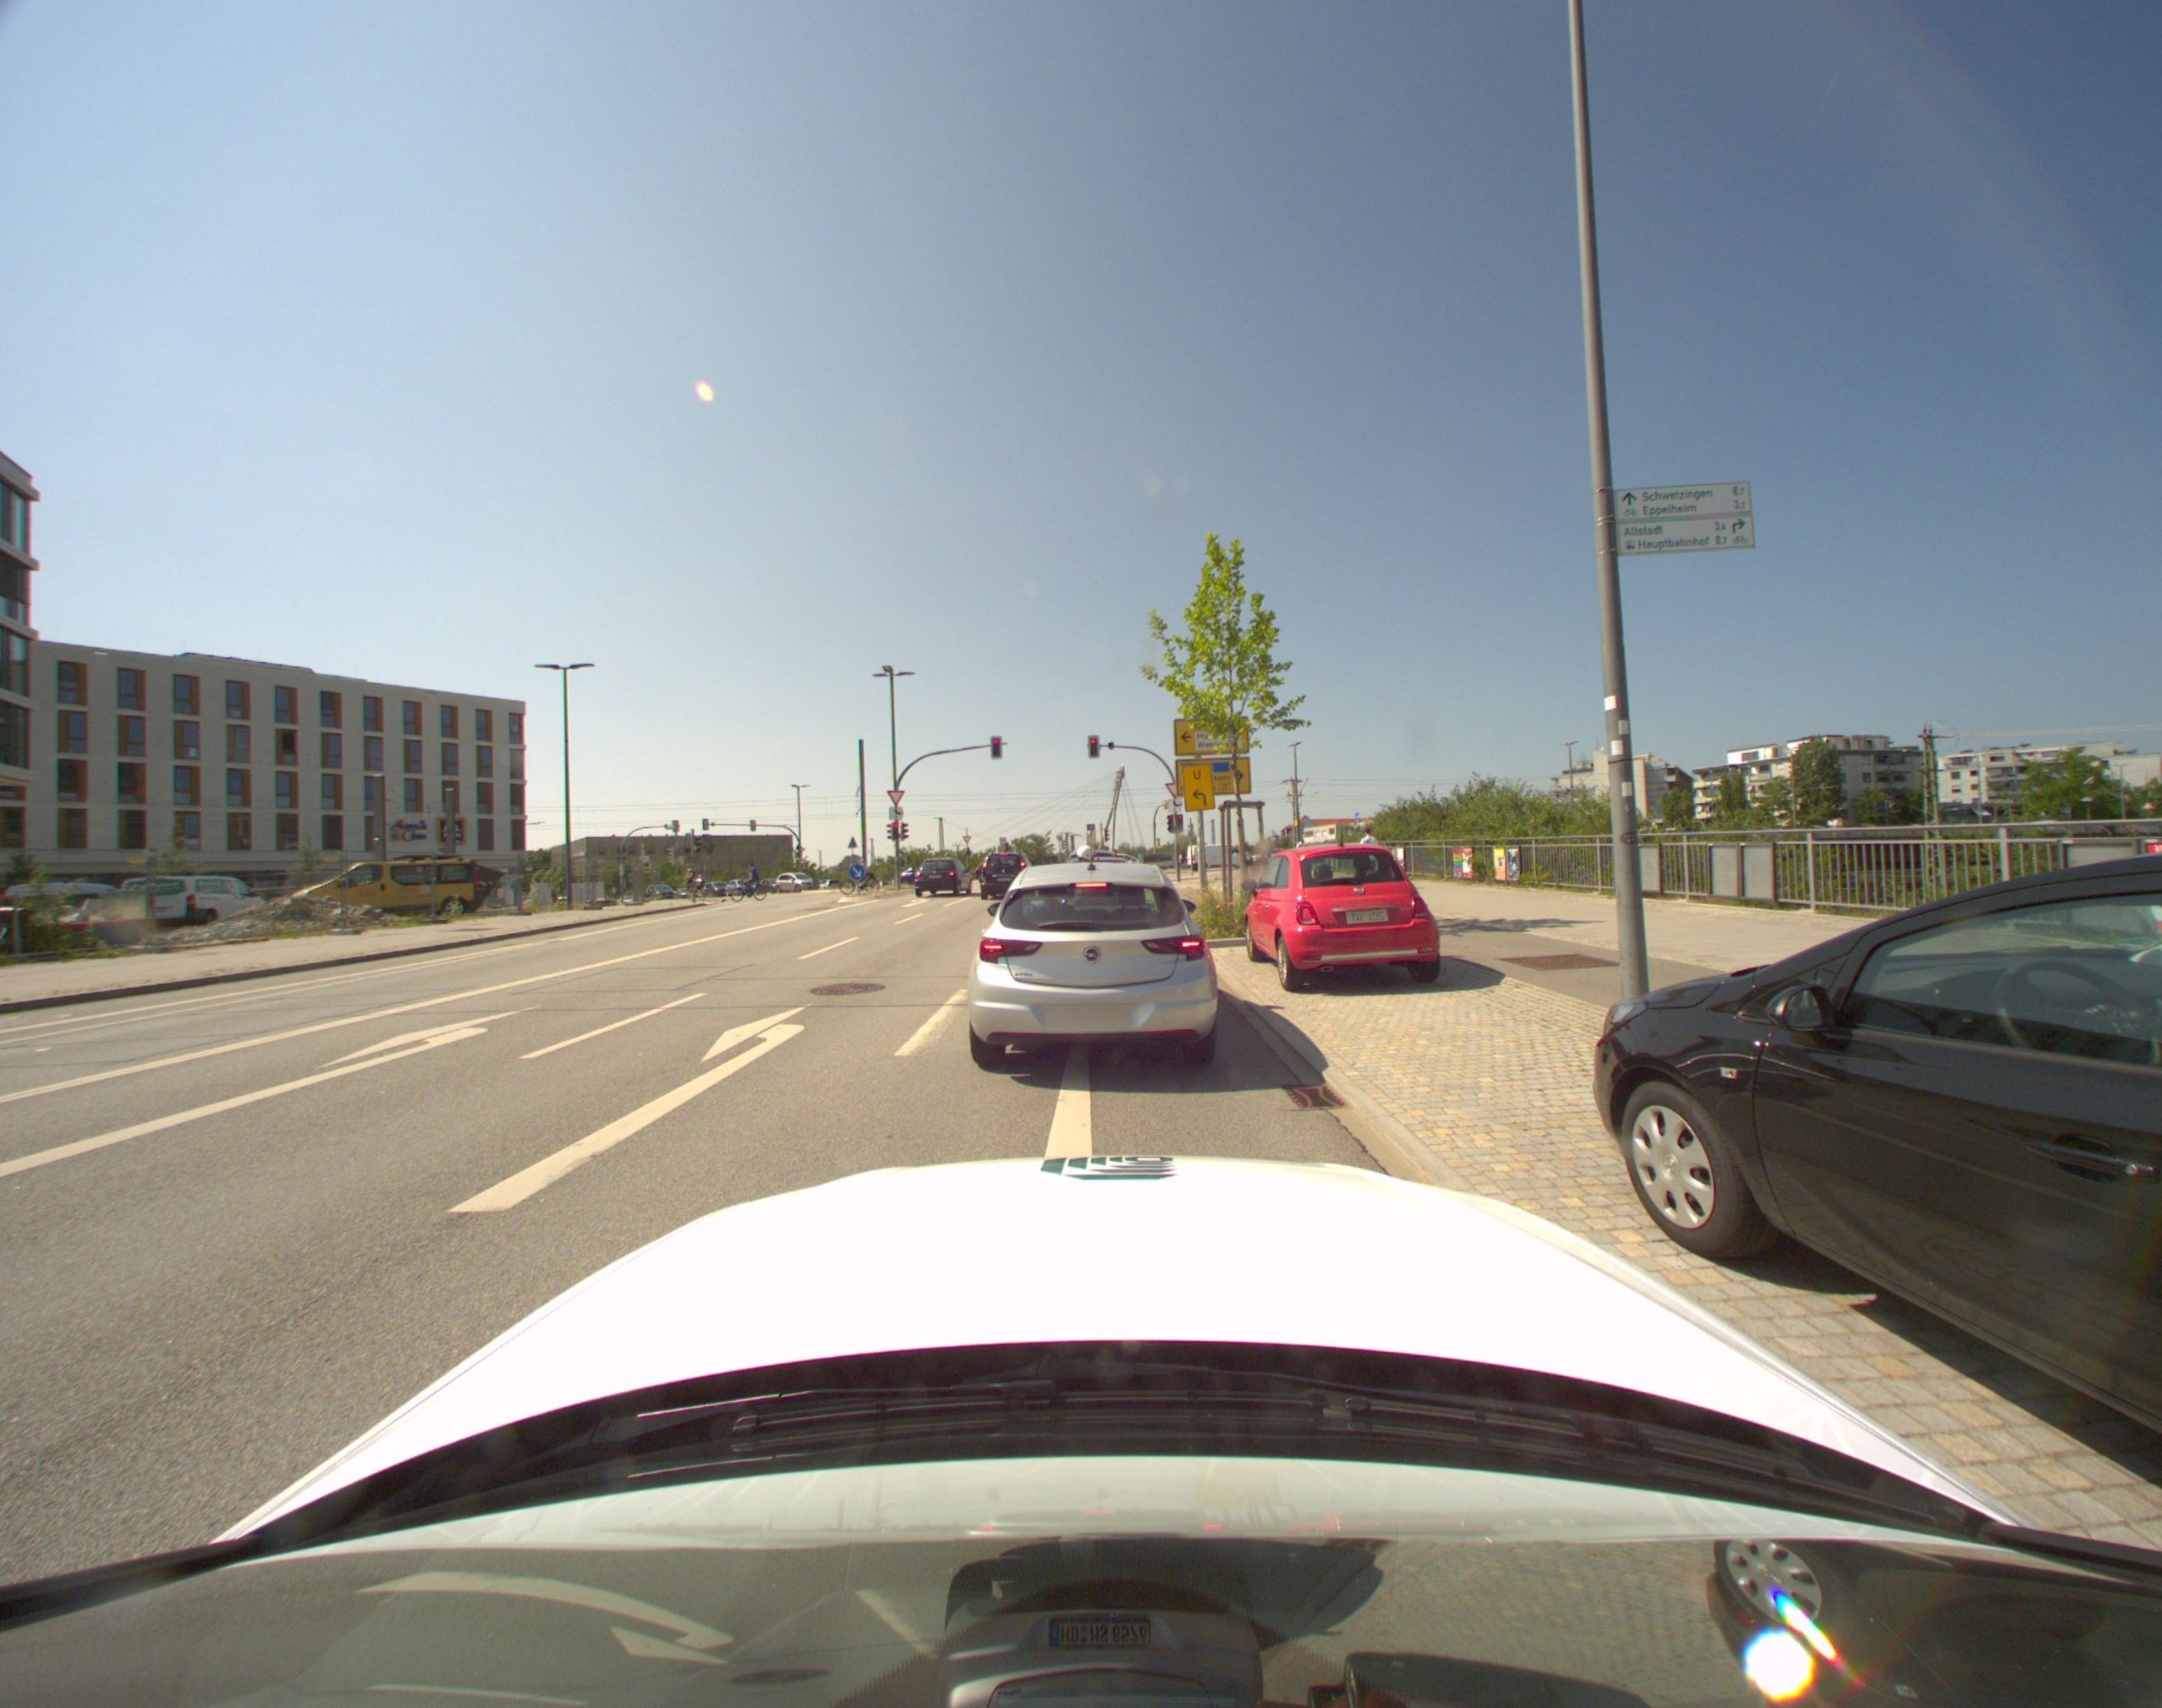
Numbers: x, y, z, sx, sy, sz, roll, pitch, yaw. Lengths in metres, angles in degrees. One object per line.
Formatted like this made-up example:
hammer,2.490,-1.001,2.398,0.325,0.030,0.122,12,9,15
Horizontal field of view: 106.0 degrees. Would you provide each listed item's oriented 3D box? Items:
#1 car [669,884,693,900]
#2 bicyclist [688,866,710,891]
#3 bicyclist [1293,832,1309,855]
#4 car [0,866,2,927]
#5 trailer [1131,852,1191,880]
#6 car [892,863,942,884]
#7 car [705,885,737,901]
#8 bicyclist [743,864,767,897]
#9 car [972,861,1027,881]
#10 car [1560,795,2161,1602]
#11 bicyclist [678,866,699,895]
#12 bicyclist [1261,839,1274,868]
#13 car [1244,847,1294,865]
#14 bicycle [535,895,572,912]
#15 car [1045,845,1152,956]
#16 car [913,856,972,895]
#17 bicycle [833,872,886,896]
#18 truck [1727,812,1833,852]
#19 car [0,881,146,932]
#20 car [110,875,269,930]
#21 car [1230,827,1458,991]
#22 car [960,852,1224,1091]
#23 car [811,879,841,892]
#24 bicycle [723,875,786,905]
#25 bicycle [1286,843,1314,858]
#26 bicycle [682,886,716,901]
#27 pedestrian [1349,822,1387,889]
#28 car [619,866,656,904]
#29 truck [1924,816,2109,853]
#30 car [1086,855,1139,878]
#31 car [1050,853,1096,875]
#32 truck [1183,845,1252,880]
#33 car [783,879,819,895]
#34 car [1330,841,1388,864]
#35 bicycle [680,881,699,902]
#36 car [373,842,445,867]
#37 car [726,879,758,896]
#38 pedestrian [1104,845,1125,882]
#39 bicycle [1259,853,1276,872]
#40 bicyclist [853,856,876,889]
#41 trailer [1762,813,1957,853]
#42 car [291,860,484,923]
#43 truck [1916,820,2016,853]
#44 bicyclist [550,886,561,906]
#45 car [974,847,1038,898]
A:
car,-46.584,4.373,94.849,1.725,1.741,4.165,1,-1,-36
bicyclist,-18.846,1.208,40.157,0.650,1.175,0.735,-2,-2,35
bicyclist,15.687,-0.752,58.073,0.772,1.610,0.944,0,-1,-13
car,-36.245,1.395,24.980,2.220,2.056,4.133,0,-1,-28
trailer,5.852,0.863,59.858,3.987,2.014,1.993,0,-1,-10
car,-13.162,1.544,65.285,3.485,1.641,1.805,0,-1,10
car,-37.882,4.076,85.676,2.010,1.455,4.433,1,-1,-40
bicyclist,-15.408,1.247,38.482,0.821,1.560,0.862,0,-1,-4
car,-6.011,1.257,60.107,3.755,1.390,1.669,0,-1,7
car,2.859,0.638,1.715,1.576,1.555,3.548,-4,0,1
bicyclist,-20.490,1.363,42.543,0.842,1.502,0.656,0,-1,-14
bicyclist,12.217,-0.031,53.350,0.628,1.887,0.599,-1,-1,27
car,17.752,0.173,76.983,4.254,1.673,1.989,-1,-1,-16
bicycle,-40.396,3.782,62.379,2.337,1.133,0.630,-1,-1,-36
car,0.312,0.735,14.267,1.629,1.674,3.745,0,-1,1
car,-5.230,0.811,31.170,1.581,1.395,3.340,-1,-1,1
bicycle,-10.532,1.416,38.763,2.355,1.127,0.676,0,-1,-7
truck,59.042,-1.783,68.889,6.478,3.204,3.721,0,-1,-14
car,-33.747,1.679,27.257,1.809,1.508,3.965,0,-1,-27
car,-31.115,1.622,28.647,2.003,1.707,4.526,0,-1,-23
car,2.979,0.575,10.076,1.662,1.540,3.919,-3,-1,3
car,0.118,0.774,7.414,1.685,1.520,4.271,-1,0,1
car,-27.285,3.377,87.207,3.181,1.304,1.533,-1,-1,38
bicycle,-15.409,1.693,38.484,2.521,1.134,0.727,-6,2,-6
bicycle,15.606,-0.262,58.038,1.868,1.068,0.575,0,-1,-13
bicycle,-18.852,1.955,40.147,2.224,0.692,0.519,-2,-1,37
pedestrian,7.981,0.052,22.672,0.755,1.830,0.885,0,-1,1
car,-24.261,1.653,44.628,1.680,2.014,3.963,0,-1,-28
truck,87.890,-1.750,76.471,17.857,3.204,3.723,0,-1,-14
car,2.422,0.962,62.857,3.972,1.784,2.000,0,-1,1
car,-0.758,0.929,76.606,3.988,2.014,1.992,-1,-1,-11
truck,10.160,0.611,60.625,4.692,2.541,1.994,0,-1,-9
car,-22.417,2.619,65.146,2.456,1.240,1.285,-1,-1,19
car,22.138,-0.132,64.981,4.044,1.815,1.920,0,-1,-18
bicycle,-20.487,1.929,42.634,0.605,1.007,2.496,-1,-1,-19
car,-54.367,0.051,65.960,3.990,2.014,1.991,0,-1,-12
car,-30.240,2.985,72.628,1.595,1.439,3.115,1,-1,-45
pedestrian,1.712,0.464,41.471,0.746,1.863,0.745,1,-2,-38
bicycle,12.258,0.557,53.454,0.548,1.178,2.100,1,0,27
bicyclist,-10.328,0.875,38.804,0.944,1.569,0.821,0,-1,-7
trailer,68.059,-1.778,71.197,17.225,3.204,3.723,0,-1,-14
car,-22.546,1.147,26.643,1.974,1.890,4.514,-1,-1,40
truck,89.562,-1.690,82.439,9.890,3.158,2.492,0,-1,-15
bicyclist,-40.310,3.220,62.468,0.724,1.504,0.815,0,-1,-36
car,-2.588,0.639,28.960,1.797,1.622,3.917,-2,-1,1
